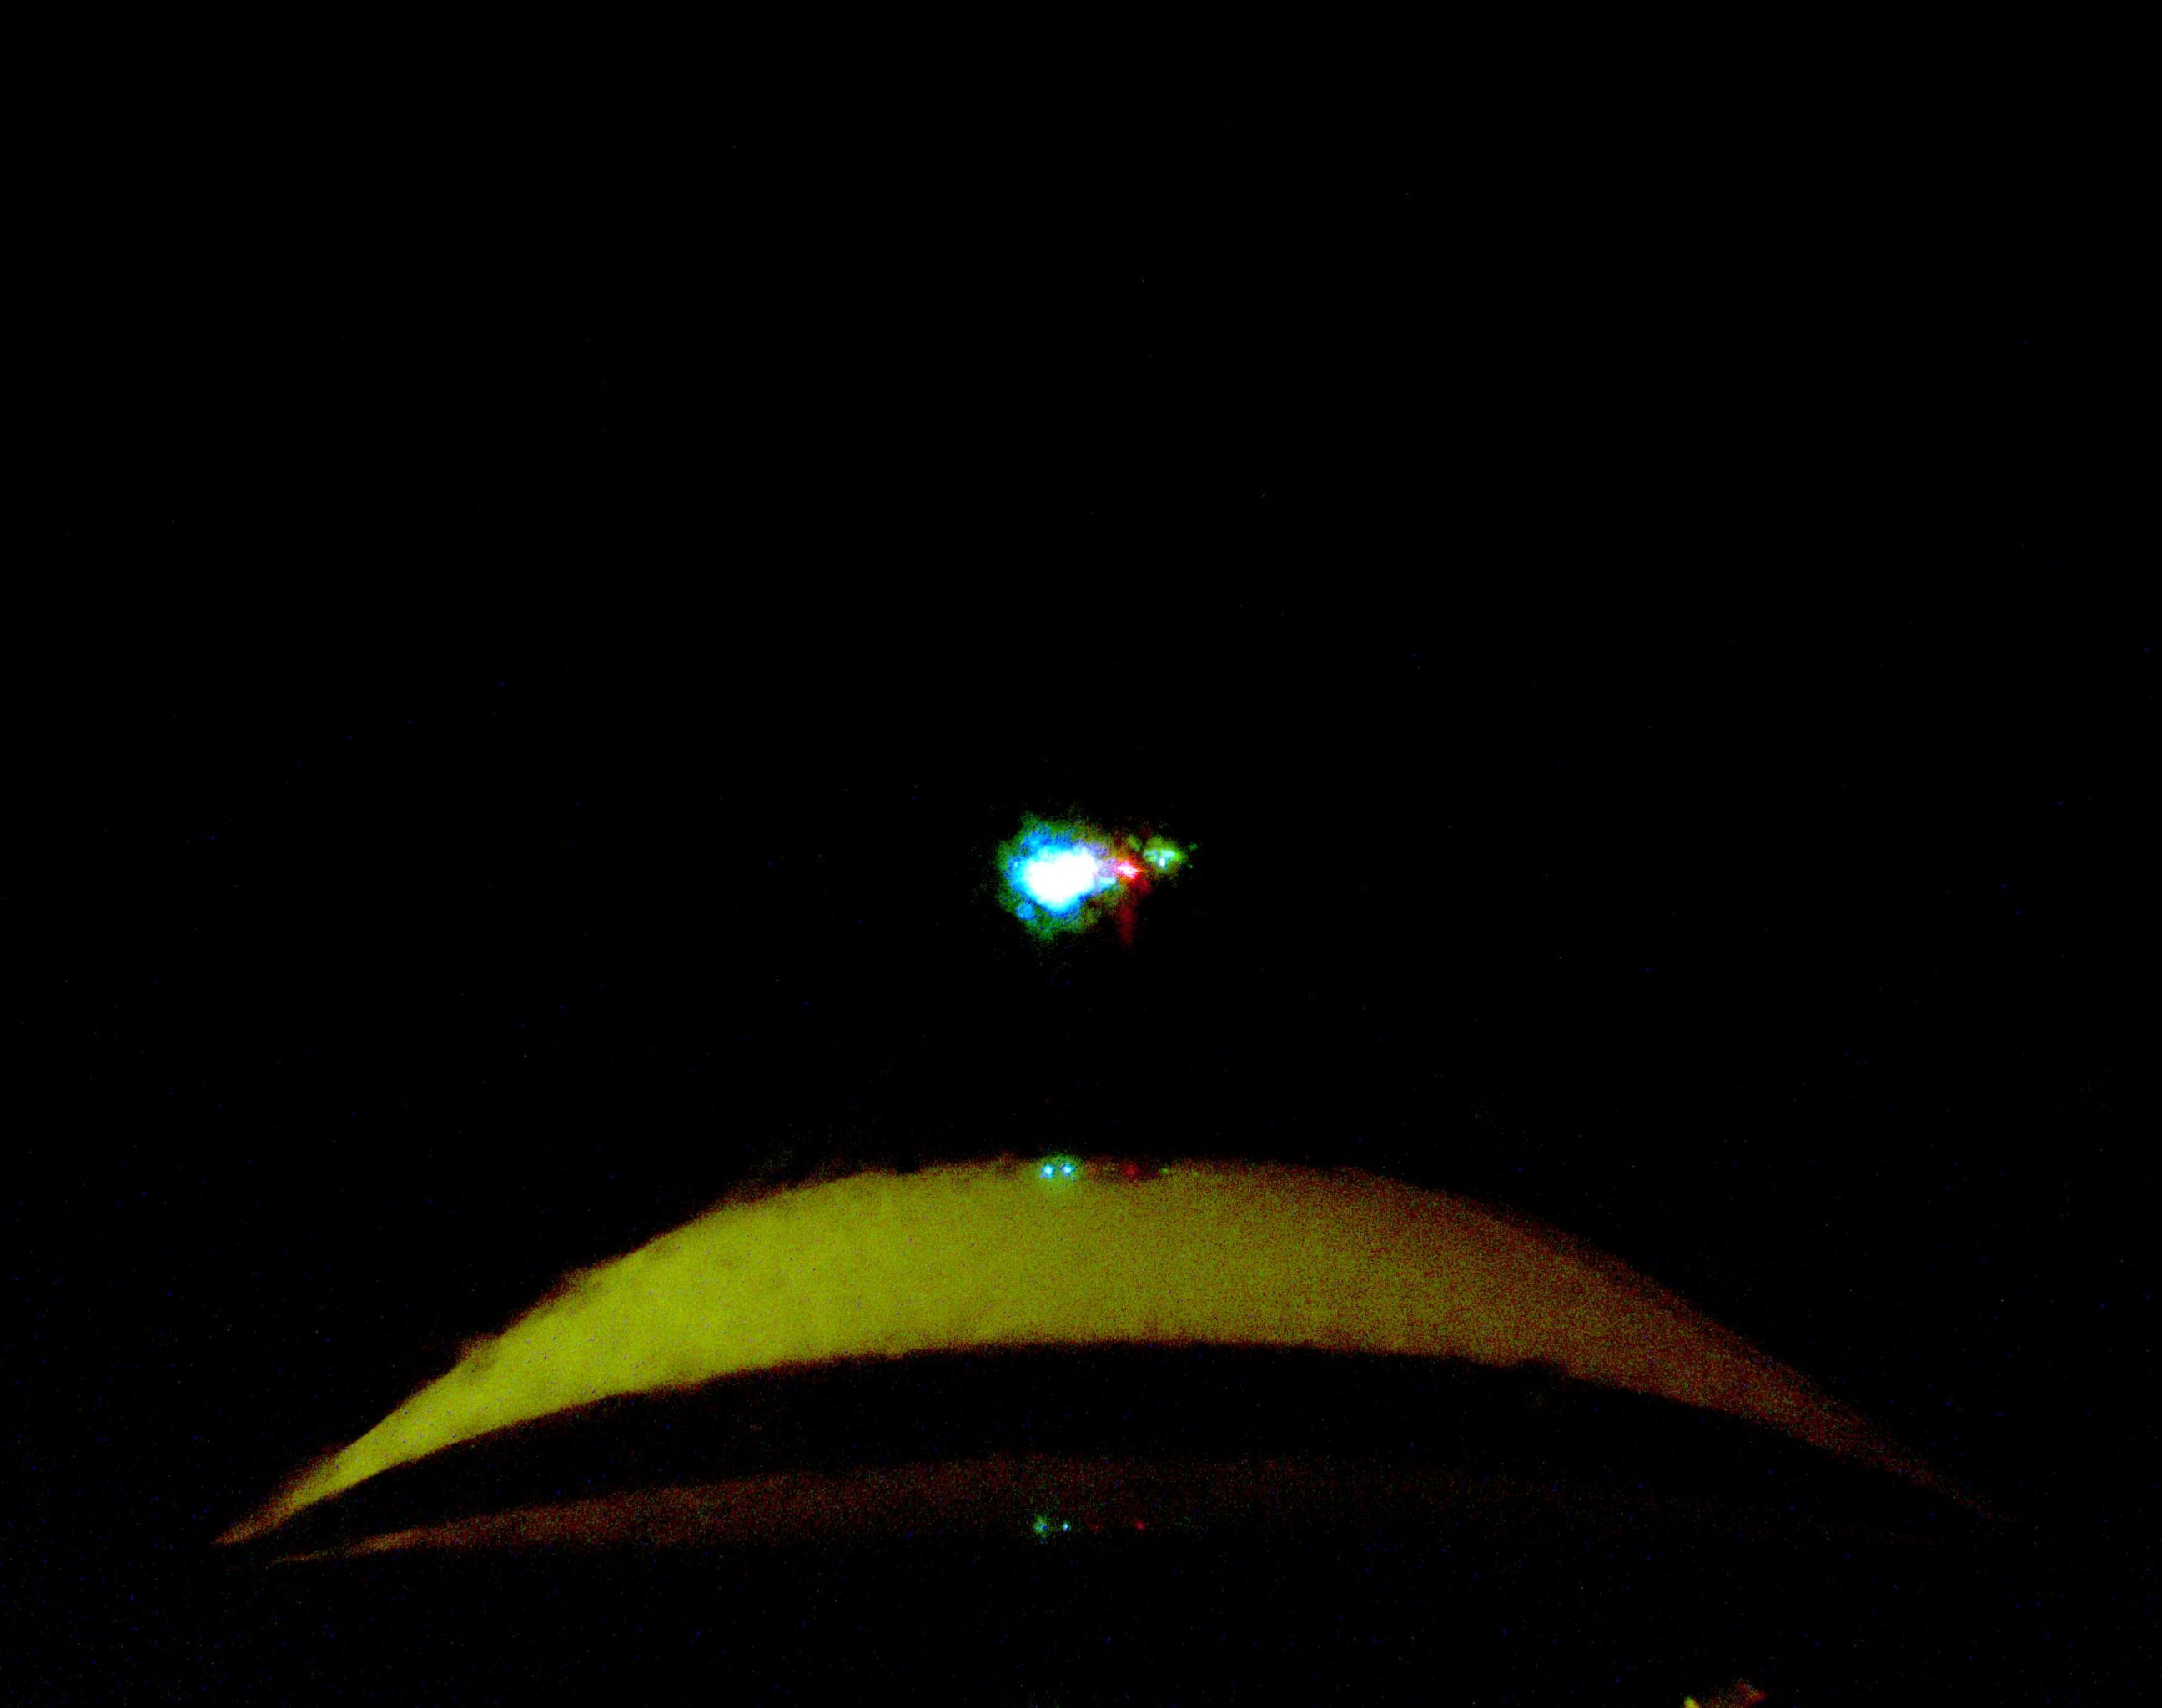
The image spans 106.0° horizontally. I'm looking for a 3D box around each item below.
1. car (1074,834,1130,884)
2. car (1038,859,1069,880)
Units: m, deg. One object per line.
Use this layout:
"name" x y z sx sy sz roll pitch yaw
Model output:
"car" 0.702 0.172 29.024 1.803 1.621 3.999 -2 0 0
"car" -2.032 1.153 61.154 1.986 1.473 4.278 -2 0 2
